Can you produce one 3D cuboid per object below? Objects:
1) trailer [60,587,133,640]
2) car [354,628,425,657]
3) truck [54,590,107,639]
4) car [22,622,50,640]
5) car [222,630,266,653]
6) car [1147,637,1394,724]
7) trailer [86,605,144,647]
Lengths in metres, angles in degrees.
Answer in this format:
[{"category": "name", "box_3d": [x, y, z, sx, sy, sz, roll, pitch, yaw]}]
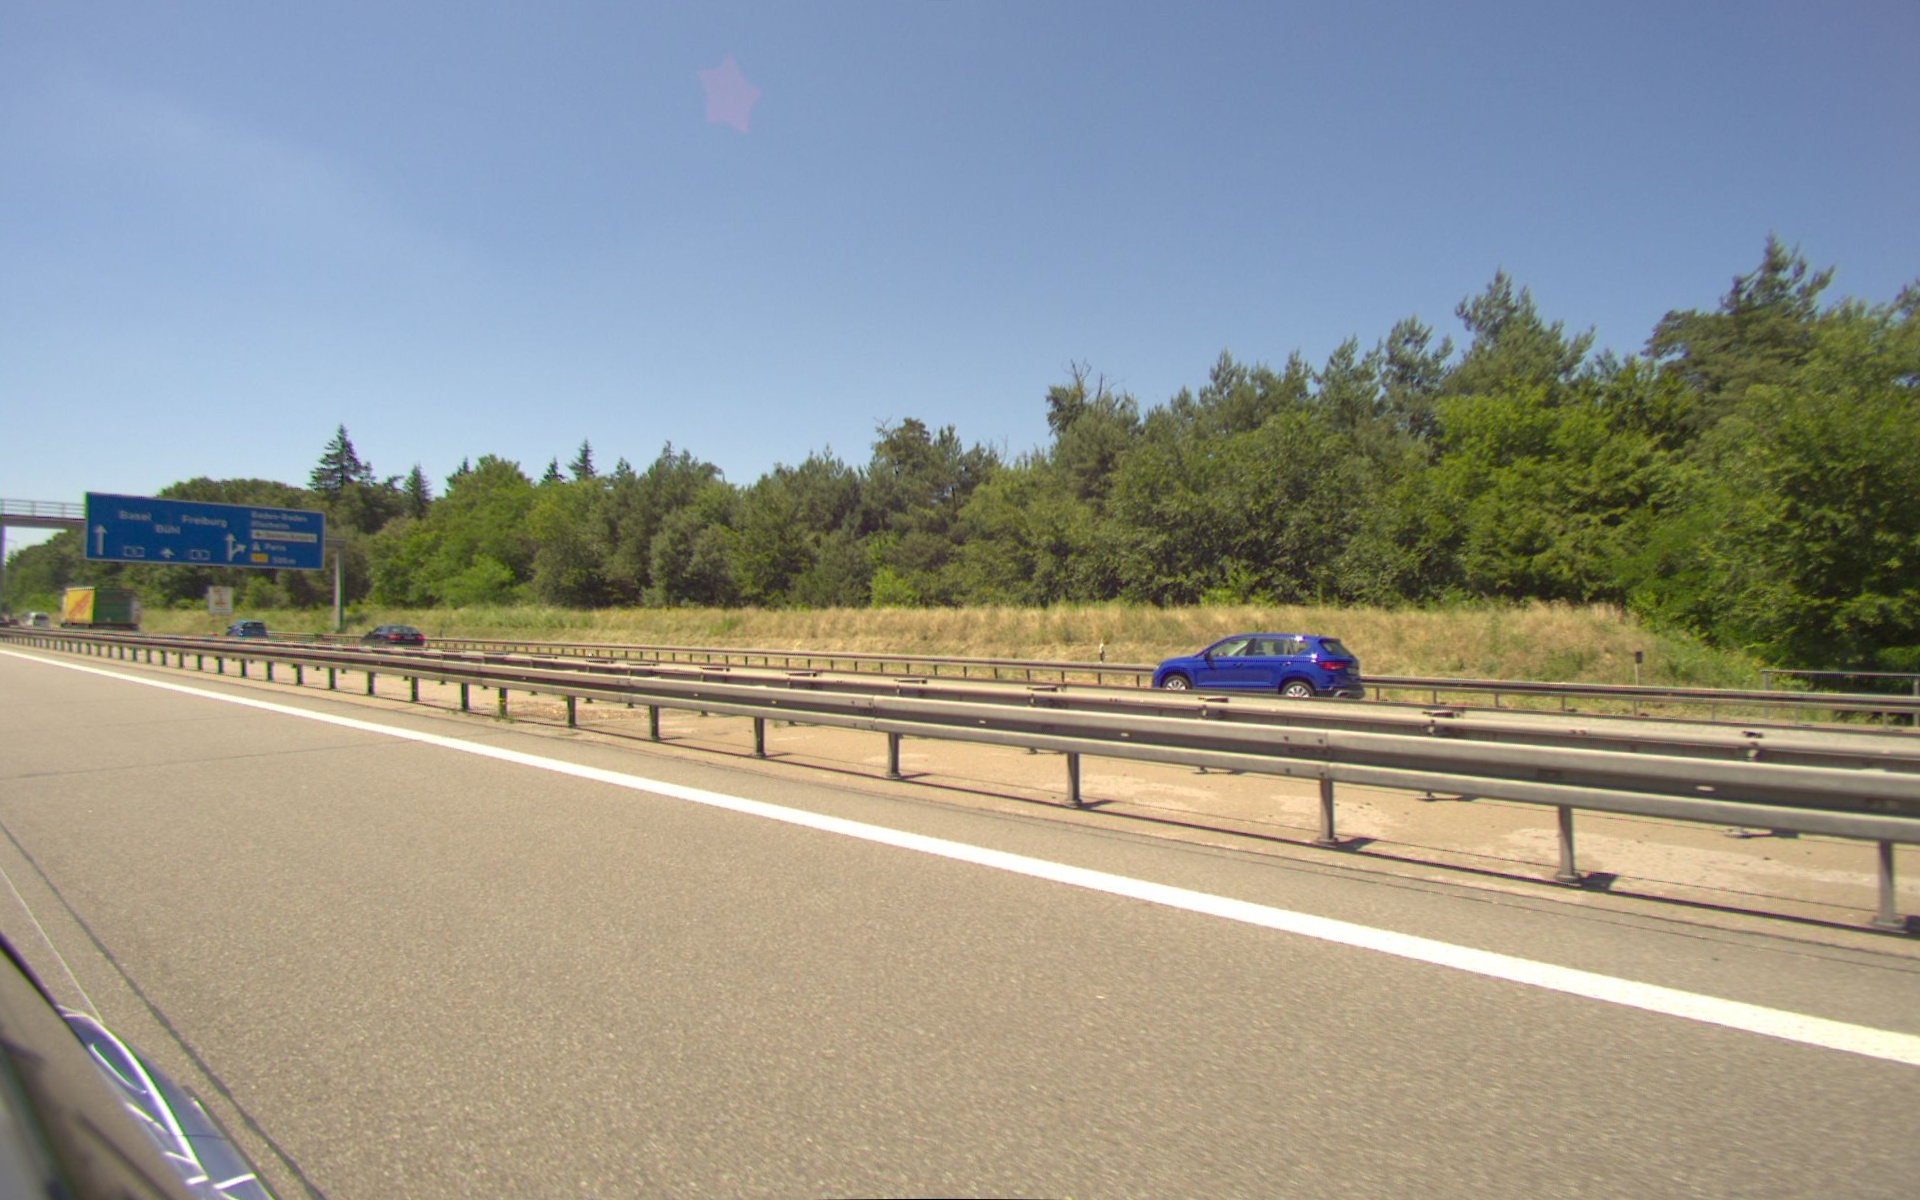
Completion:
[{"category": "trailer", "box_3d": [-74.005, 1.239, 86.551, 14.272, 4.104, 2.438, -1, -5, 41]}, {"category": "car", "box_3d": [-30.358, 2.244, 53.802, 4.887, 1.376, 1.658, -1, -5, 41]}, {"category": "truck", "box_3d": [-79.229, 1.345, 91.131, 6.284, 4.104, 2.438, -1, -5, 41]}, {"category": "car", "box_3d": [-127.262, 4.224, 139.368, 5.805, 2.358, 1.967, -1, -5, 40]}, {"category": "car", "box_3d": [-51.088, 2.937, 72.196, 4.108, 1.552, 1.508, -1, -5, 41]}, {"category": "car", "box_3d": [6.242, 1.592, 20.656, 4.533, 1.557, 1.684, -1, -5, 41]}, {"category": "trailer", "box_3d": [-86.473, 2.697, 103.421, 11.152, 3.979, 2.598, -1, -5, 41]}]
